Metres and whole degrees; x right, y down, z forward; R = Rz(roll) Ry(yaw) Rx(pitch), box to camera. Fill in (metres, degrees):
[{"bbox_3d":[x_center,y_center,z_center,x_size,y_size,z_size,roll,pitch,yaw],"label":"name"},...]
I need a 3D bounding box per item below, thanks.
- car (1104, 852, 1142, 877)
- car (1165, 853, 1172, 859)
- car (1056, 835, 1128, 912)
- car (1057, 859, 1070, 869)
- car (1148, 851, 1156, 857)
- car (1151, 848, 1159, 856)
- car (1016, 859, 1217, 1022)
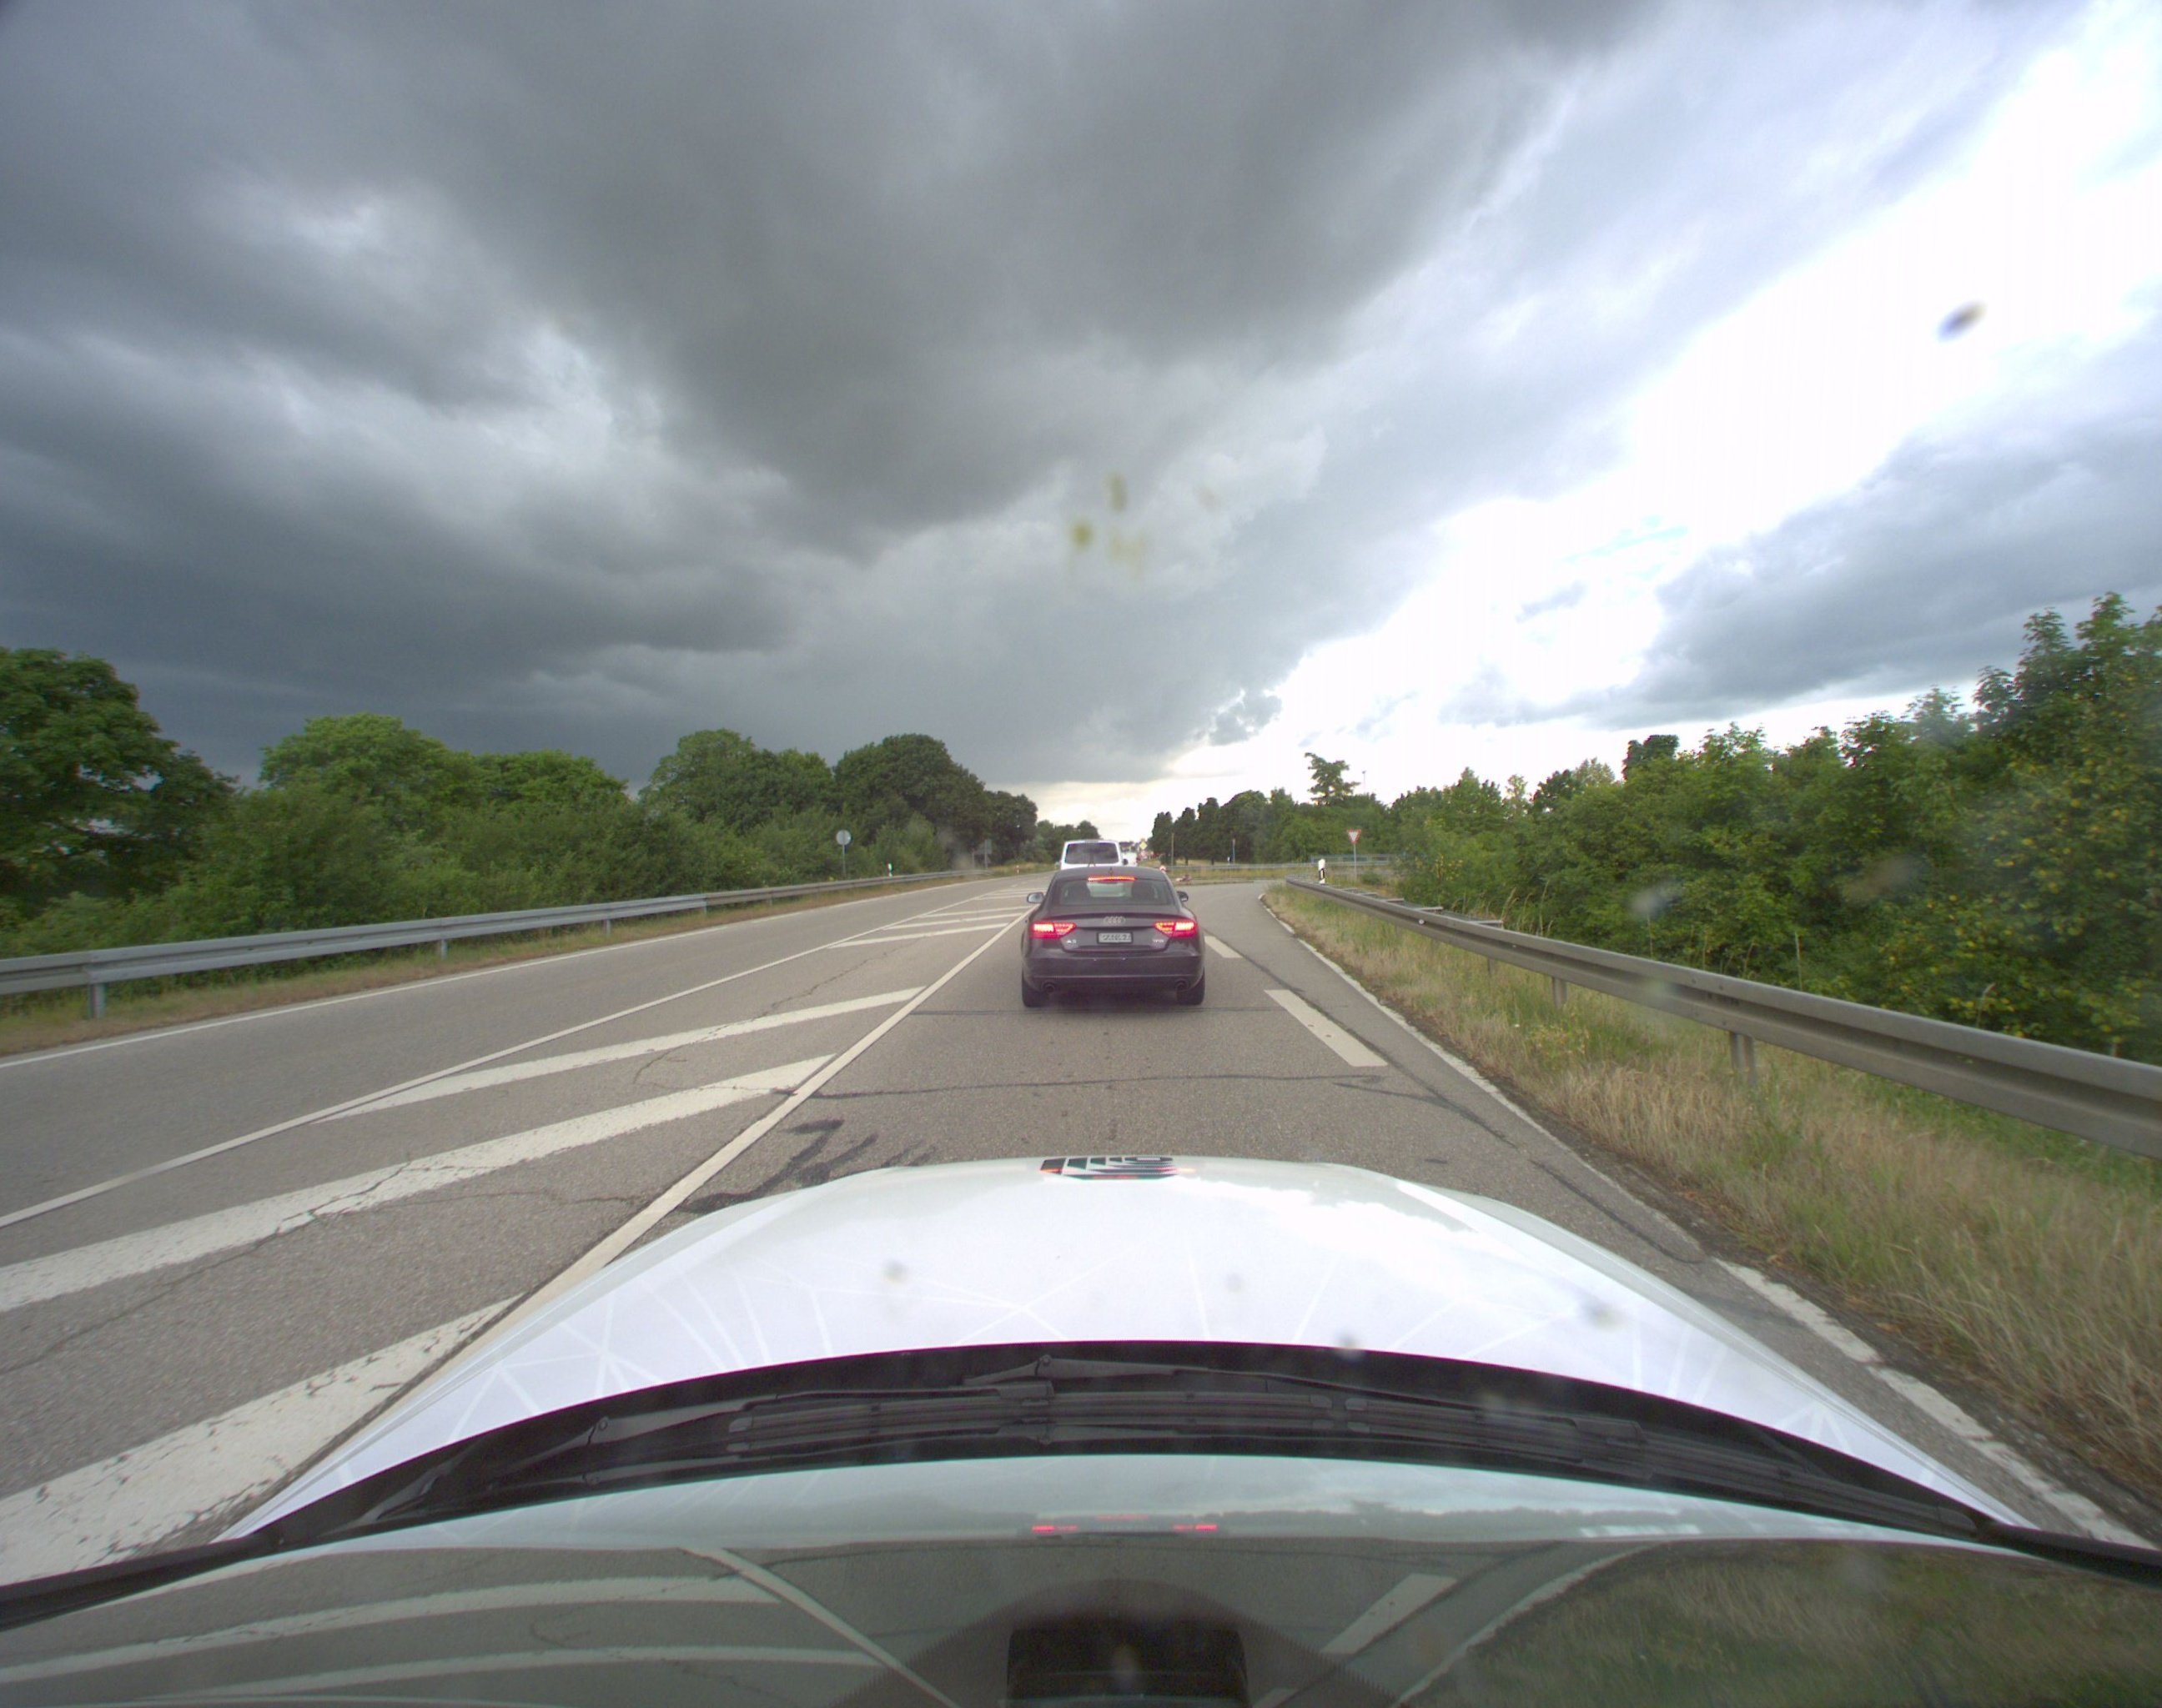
[{"bbox_3d":[3.654,0.877,71.824,2.083,2.064,4.855,0,0,-12],"label":"car"},{"bbox_3d":[24.836,0.603,231.990,1.865,1.692,4.008,0,0,7],"label":"car"},{"bbox_3d":[0.328,0.508,23.599,1.904,2.013,4.001,0,0,1],"label":"car"},{"bbox_3d":[-2.702,1.463,123.751,1.791,1.398,3.485,0,0,2],"label":"car"},{"bbox_3d":[20.865,-0.116,239.199,1.985,1.692,4.004,0,0,3],"label":"car"},{"bbox_3d":[19.956,-0.486,220.009,1.985,2.013,4.004,0,0,3],"label":"car"},{"bbox_3d":[0.334,0.778,8.914,1.774,1.398,3.336,-1,0,0],"label":"car"}]
